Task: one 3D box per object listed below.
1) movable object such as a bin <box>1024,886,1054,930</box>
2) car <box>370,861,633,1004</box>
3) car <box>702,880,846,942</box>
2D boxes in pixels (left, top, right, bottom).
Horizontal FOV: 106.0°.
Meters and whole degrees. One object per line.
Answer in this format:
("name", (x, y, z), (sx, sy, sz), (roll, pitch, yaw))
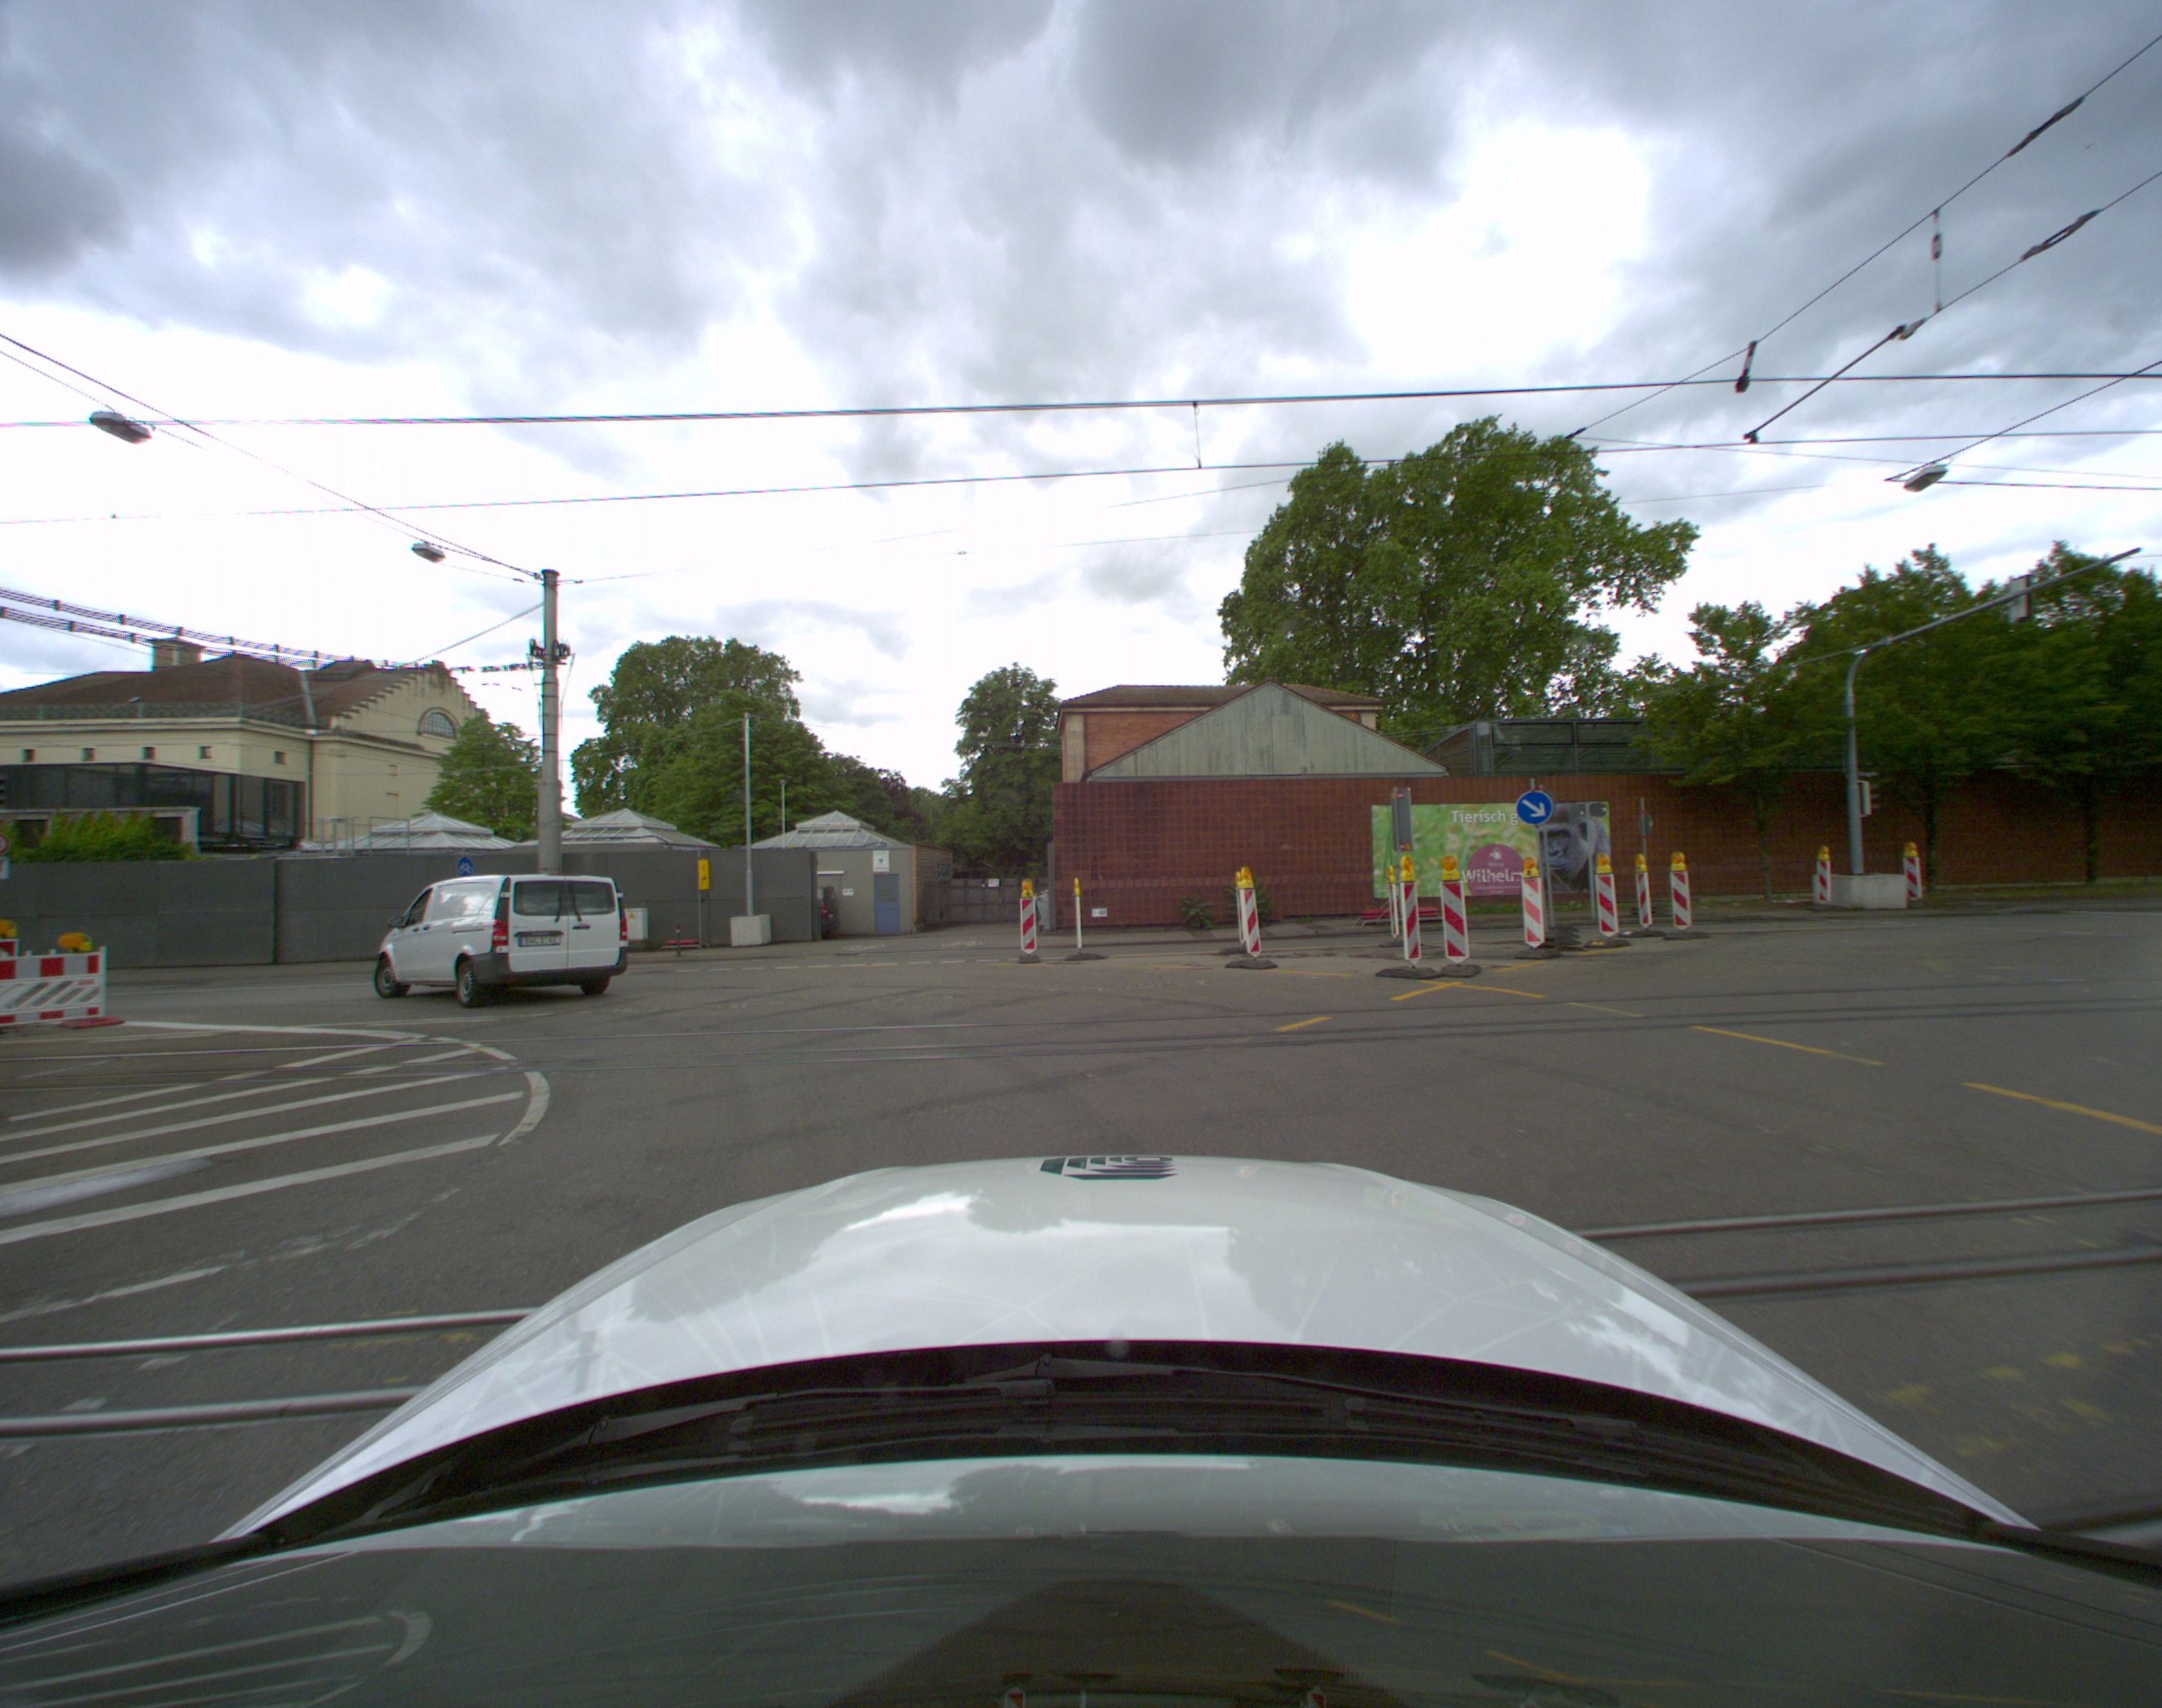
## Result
("movable object such as a bin", (-1.331, 1.717, 25.882), (0.845, 1.340, 0.800), (-2, -2, -1))
("car", (-9.395, 1.245, 13.067), (4.640, 1.902, 1.936), (-6, -3, 34))
("car", (-11.110, 2.056, 29.727), (4.434, 2.085, 2.102), (-1, -3, -3))
